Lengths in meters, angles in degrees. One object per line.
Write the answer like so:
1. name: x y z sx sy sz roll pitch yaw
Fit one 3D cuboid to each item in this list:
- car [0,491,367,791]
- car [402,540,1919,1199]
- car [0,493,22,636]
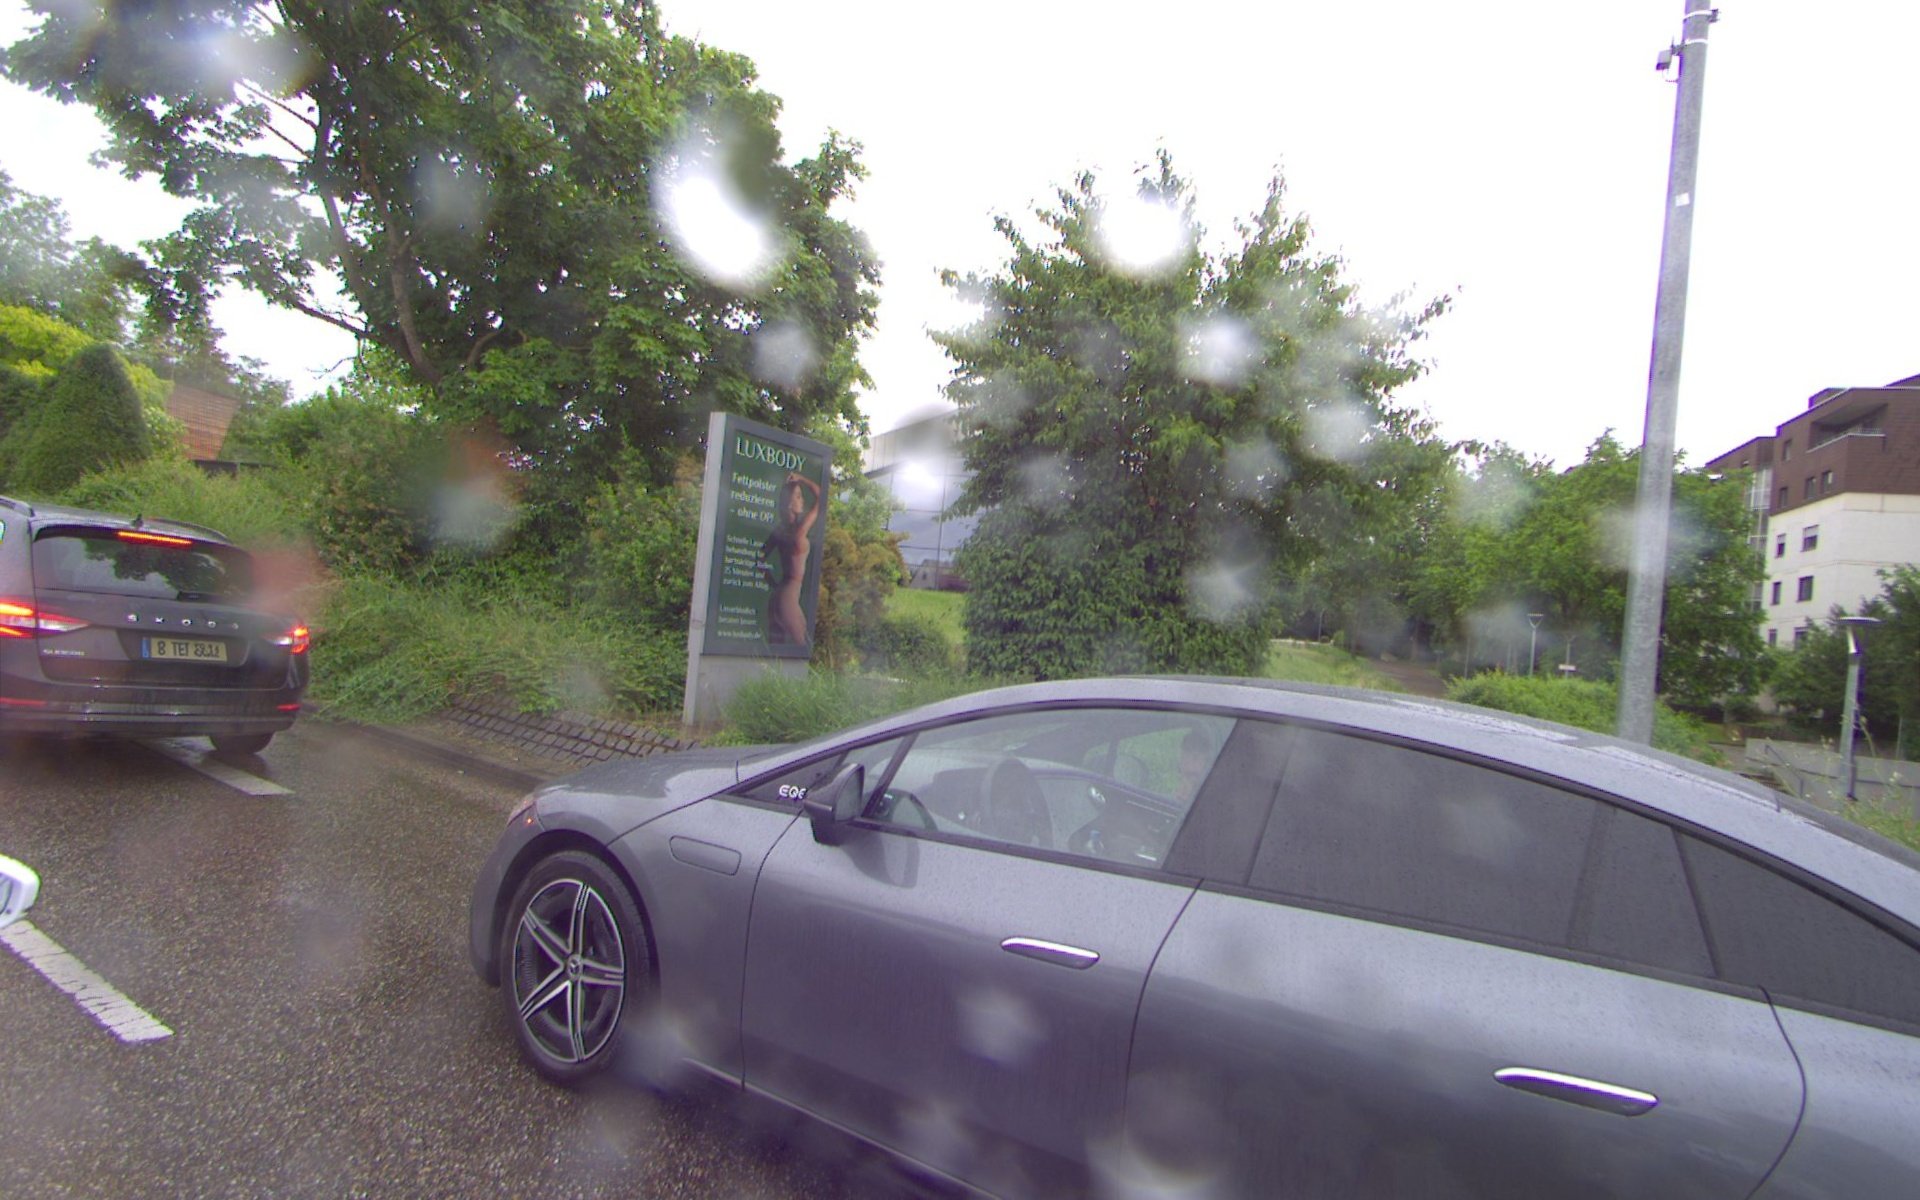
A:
1. car: -6.120 0.075 6.771 4.279 1.483 1.841 7 -2 33
2. car: 0.714 0.886 2.908 4.728 1.483 1.842 7 -2 31
3. car: -12.182 -0.676 10.872 4.048 1.483 1.842 7 -2 31
